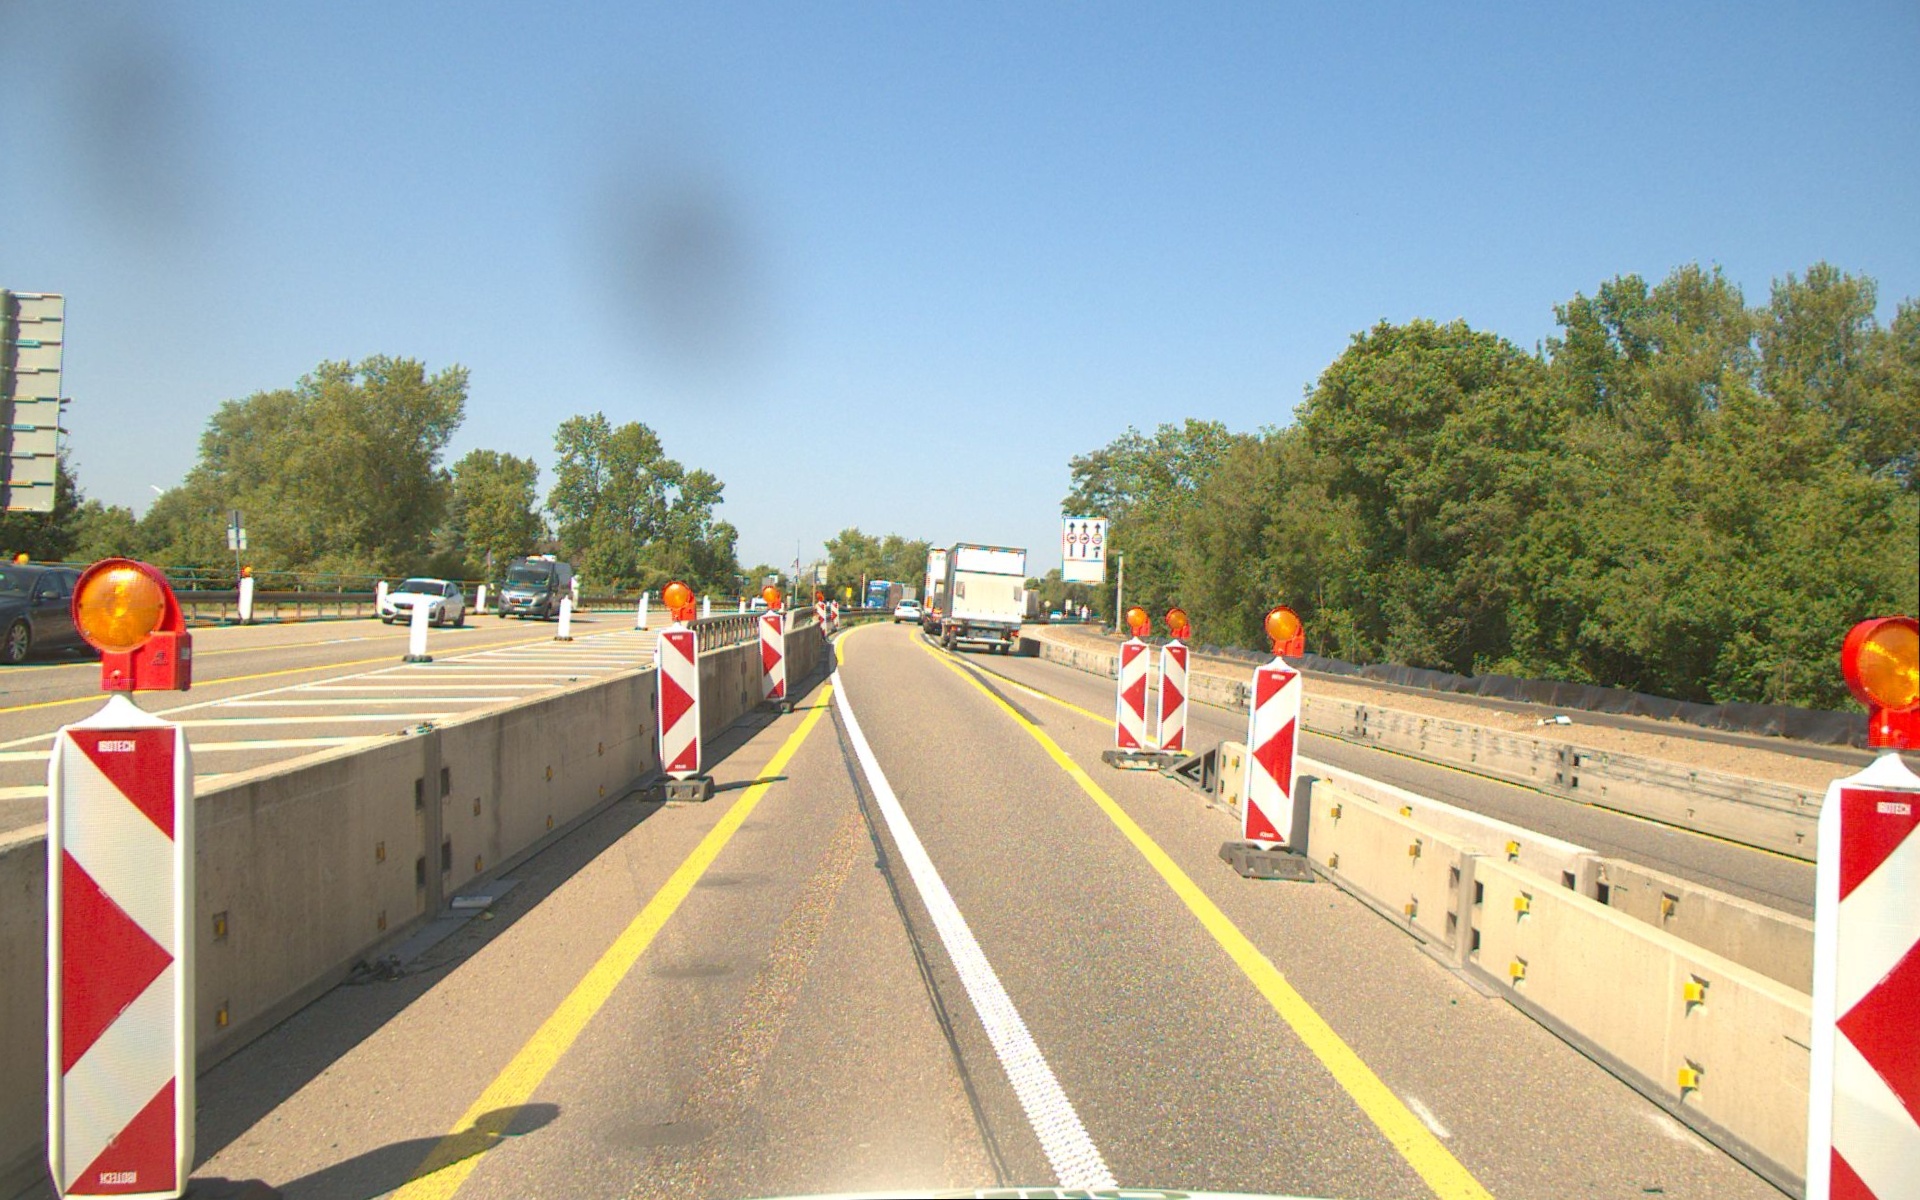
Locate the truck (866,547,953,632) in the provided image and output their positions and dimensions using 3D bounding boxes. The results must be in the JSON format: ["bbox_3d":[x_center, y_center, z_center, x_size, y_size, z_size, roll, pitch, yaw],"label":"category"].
[{"bbox_3d":[-2.528,-0.494,80.019,3.325,3.840,7.219,2,0,-8],"label":"truck"}]

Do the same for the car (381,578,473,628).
[{"bbox_3d":[-16.800,0.081,52.340,1.685,1.421,4.515,4,0,-5],"label":"car"}]

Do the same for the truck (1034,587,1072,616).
[{"bbox_3d":[14.793,0.206,261.054,4.130,4.341,10.248,2,0,14],"label":"truck"}]

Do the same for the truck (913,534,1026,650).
[{"bbox_3d":[0.202,-0.284,55.740,2.585,3.487,7.220,4,0,-8],"label":"truck"}]

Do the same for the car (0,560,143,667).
[{"bbox_3d":[-14.413,0.146,25.472,1.704,1.502,4.640,2,0,-6],"label":"car"}]

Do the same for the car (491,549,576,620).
[{"bbox_3d":[-17.713,-0.617,68.960,2.103,2.707,5.544,3,0,-2],"label":"car"}]

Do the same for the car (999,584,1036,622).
[{"bbox_3d":[7.103,0.367,203.603,4.119,4.326,10.666,2,0,4],"label":"car"}]

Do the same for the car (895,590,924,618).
[{"bbox_3d":[-3.405,0.242,111.558,1.780,1.807,3.997,2,0,-4],"label":"car"}]
